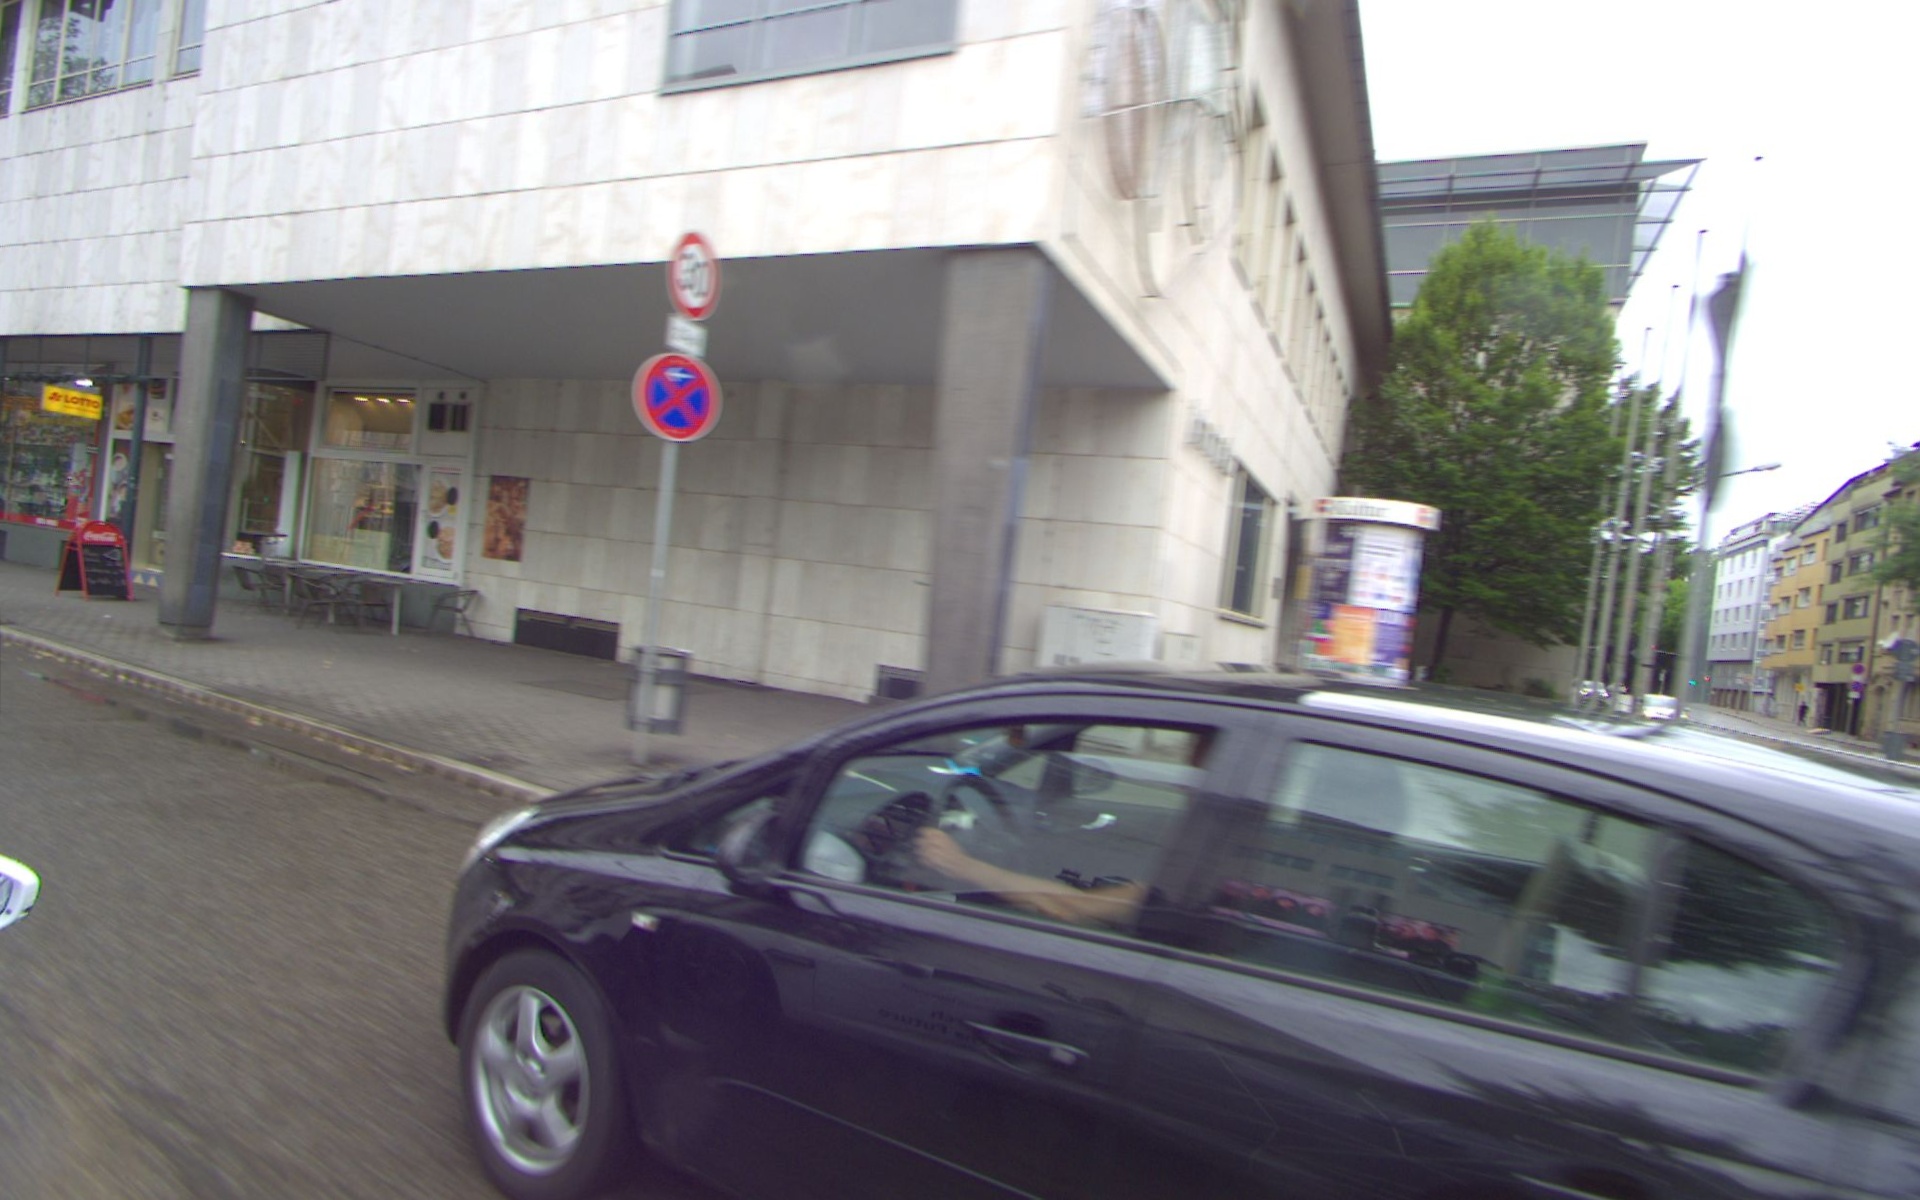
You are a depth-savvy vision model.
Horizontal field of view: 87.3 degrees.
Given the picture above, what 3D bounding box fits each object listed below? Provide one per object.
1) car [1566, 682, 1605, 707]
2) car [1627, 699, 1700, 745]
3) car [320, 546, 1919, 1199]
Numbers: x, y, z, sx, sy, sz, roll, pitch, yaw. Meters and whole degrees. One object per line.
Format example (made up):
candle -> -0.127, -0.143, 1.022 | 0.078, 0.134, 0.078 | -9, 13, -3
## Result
car -> 44.814, 6.777, 72.143 | 1.770, 1.486, 4.001 | 6, -3, 25
car -> 29.800, 5.133, 42.738 | 1.771, 1.487, 3.996 | 6, 0, 26
car -> 0.345, 0.847, 2.535 | 3.680, 1.474, 1.712 | 7, -2, 31
